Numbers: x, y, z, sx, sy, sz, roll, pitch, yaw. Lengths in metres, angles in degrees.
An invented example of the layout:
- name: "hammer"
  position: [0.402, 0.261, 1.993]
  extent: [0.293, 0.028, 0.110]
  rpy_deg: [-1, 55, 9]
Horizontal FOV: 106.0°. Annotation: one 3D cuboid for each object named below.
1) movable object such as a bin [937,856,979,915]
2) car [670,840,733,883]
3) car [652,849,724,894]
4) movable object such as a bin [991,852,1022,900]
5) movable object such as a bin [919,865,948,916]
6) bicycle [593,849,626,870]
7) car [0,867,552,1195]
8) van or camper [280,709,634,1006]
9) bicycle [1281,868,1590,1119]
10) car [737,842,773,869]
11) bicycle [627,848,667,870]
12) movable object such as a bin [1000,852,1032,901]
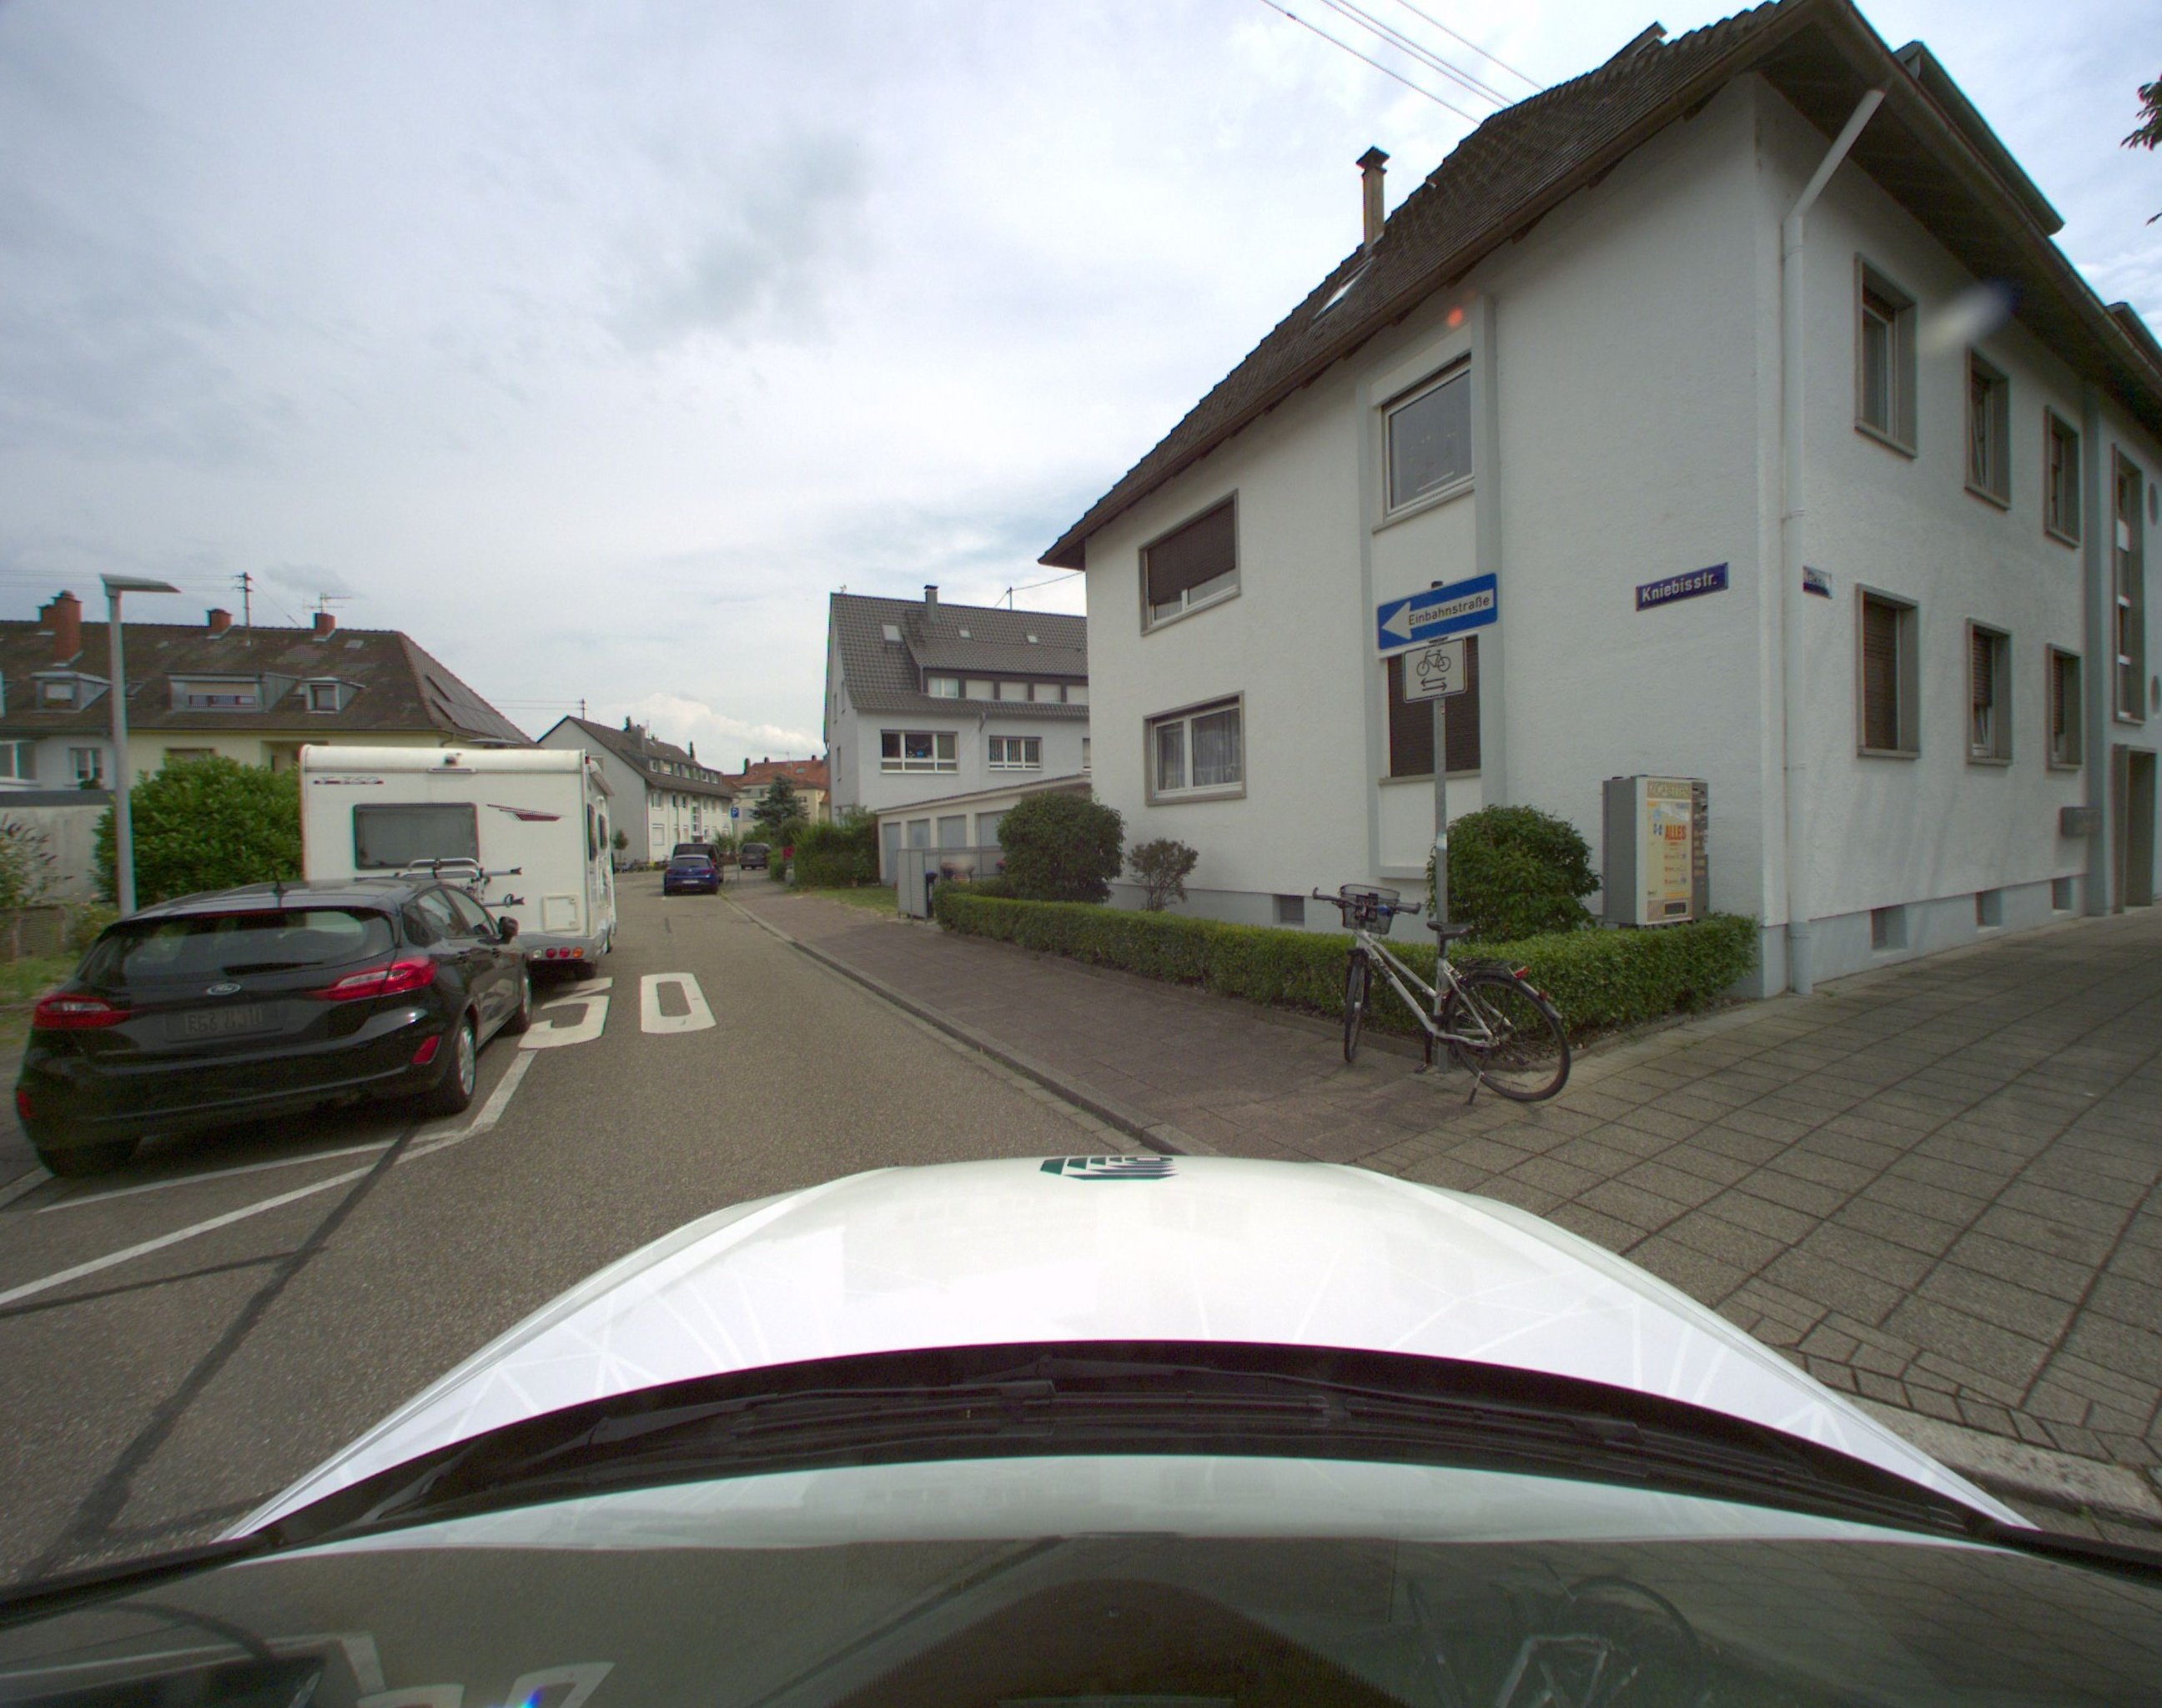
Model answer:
- name: "movable object such as a bin"
  position: [-2.473, 0.627, 16.389]
  extent: [0.583, 1.137, 0.748]
  rpy_deg: [-2, -1, -28]
- name: "car"
  position: [-16.972, 0.336, 36.591]
  extent: [1.858, 1.742, 4.321]
  rpy_deg: [-2, 0, -17]
- name: "car"
  position: [-14.386, 0.630, 30.006]
  extent: [1.726, 1.452, 3.977]
  rpy_deg: [-2, 0, -16]
- name: "movable object such as a bin"
  position: [-1.568, 0.469, 17.083]
  extent: [0.456, 0.973, 0.502]
  rpy_deg: [-2, -1, -28]
- name: "movable object such as a bin"
  position: [-2.919, 0.722, 16.120]
  extent: [0.392, 0.973, 0.510]
  rpy_deg: [-2, -1, -28]
- name: "bicycle"
  position: [-32.149, 0.362, 55.569]
  extent: [1.849, 1.373, 0.663]
  rpy_deg: [-2, -1, -41]
- name: "car"
  position: [-5.051, 0.857, 5.728]
  extent: [1.667, 1.422, 3.737]
  rpy_deg: [-2, 0, -25]
- name: "van or camper"
  position: [-7.541, 0.060, 10.775]
  extent: [2.416, 2.725, 6.110]
  rpy_deg: [-2, -1, -25]
- name: "bicycle"
  position: [1.932, 0.691, 4.688]
  extent: [0.437, 1.179, 1.622]
  rpy_deg: [-2, -1, -33]
- name: "car"
  position: [-22.935, 0.126, 57.421]
  extent: [1.858, 1.742, 4.321]
  rpy_deg: [-2, 0, -17]
- name: "bicycle"
  position: [-30.537, 0.322, 57.294]
  extent: [0.710, 1.460, 2.368]
  rpy_deg: [-3, -1, 40]
- name: "movable object such as a bin"
  position: [-1.326, 0.451, 16.618]
  extent: [0.456, 0.973, 0.502]
  rpy_deg: [-2, -1, -28]
